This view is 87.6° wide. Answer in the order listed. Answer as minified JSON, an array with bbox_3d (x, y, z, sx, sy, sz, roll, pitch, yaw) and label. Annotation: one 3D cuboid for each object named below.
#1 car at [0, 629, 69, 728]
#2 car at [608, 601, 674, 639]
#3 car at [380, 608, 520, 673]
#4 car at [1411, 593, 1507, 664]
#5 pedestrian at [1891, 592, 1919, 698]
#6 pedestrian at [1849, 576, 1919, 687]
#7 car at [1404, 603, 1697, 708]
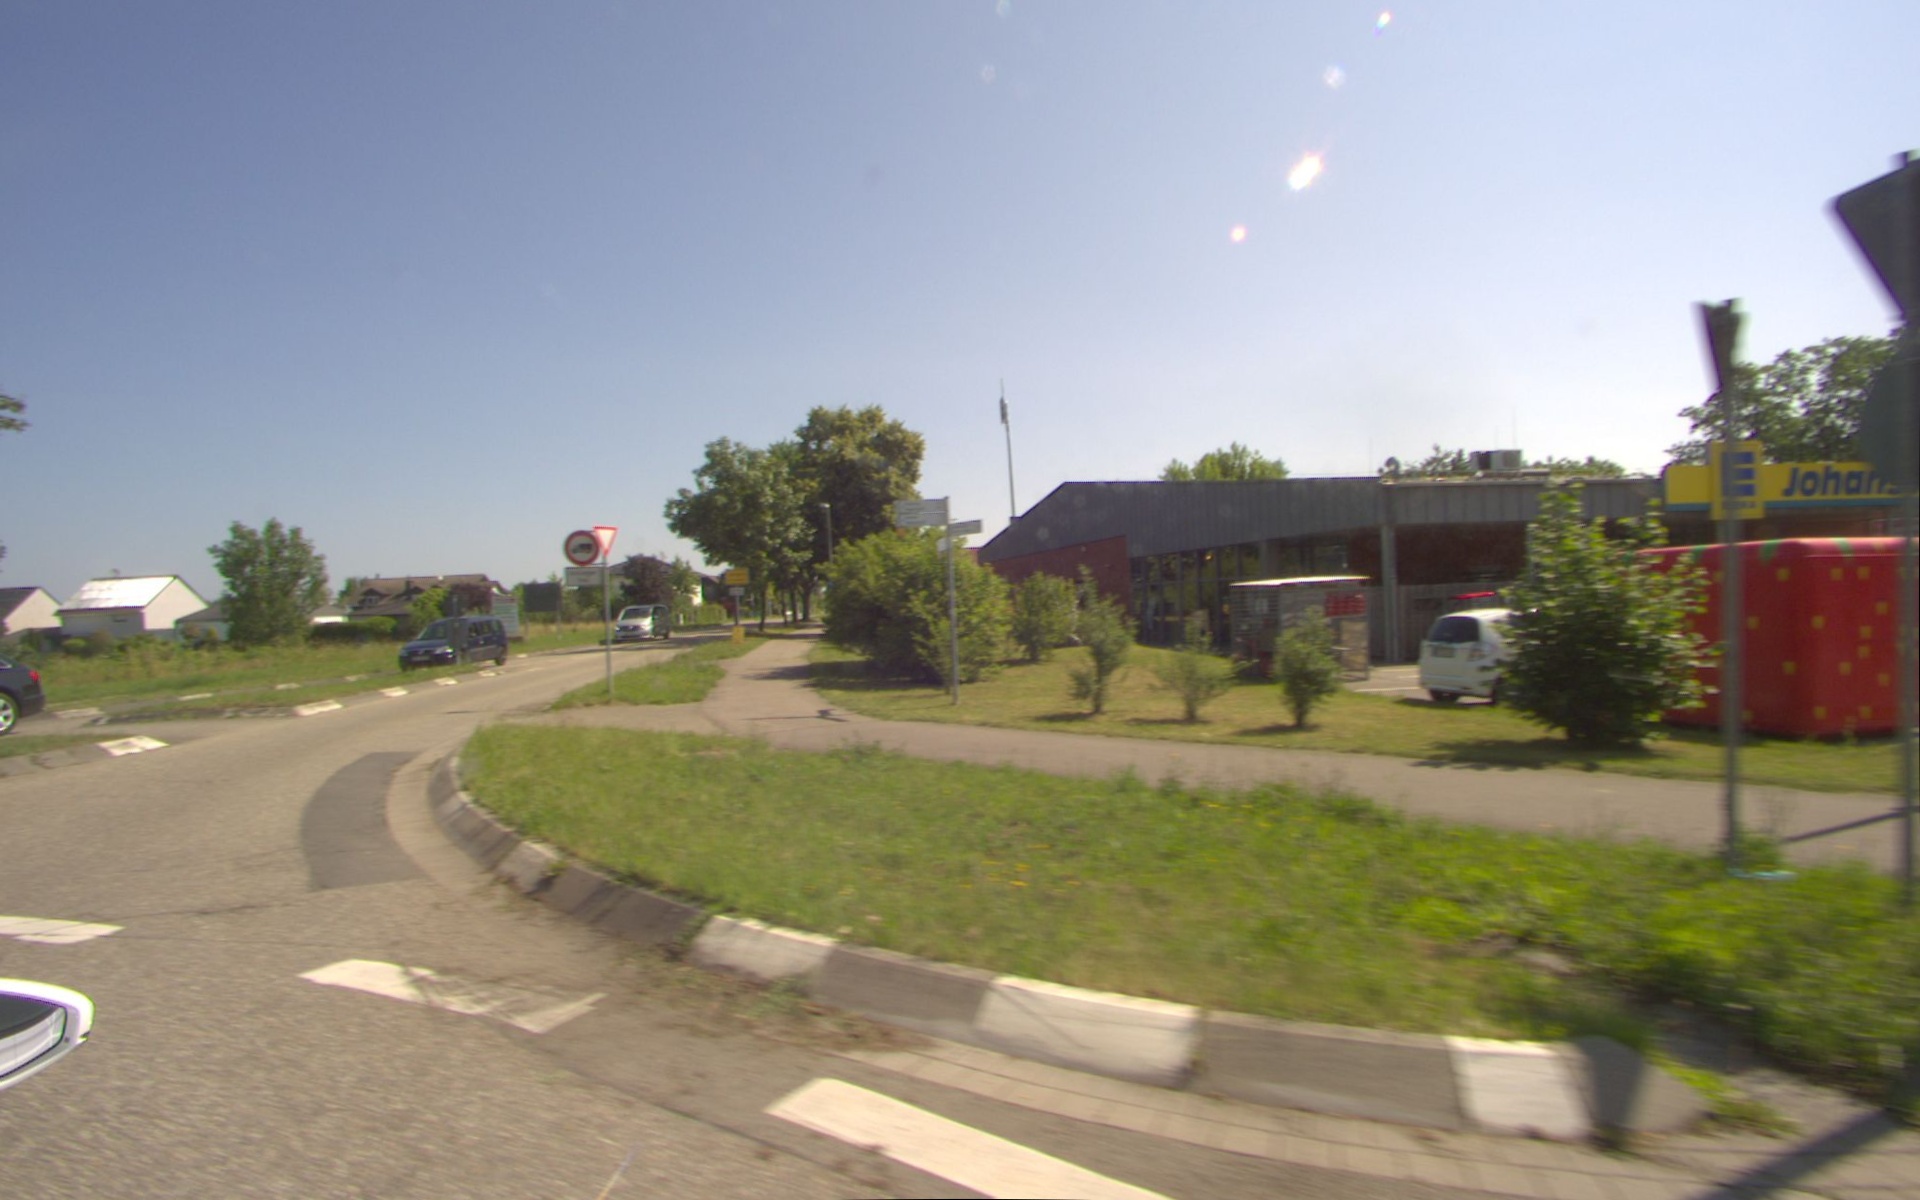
[{"bbox_3d":[-15.188,1.241,13.466,1.886,1.452,4.912,-5,0,1],"label":"car"},{"bbox_3d":[-16.697,1.031,52.718,1.961,1.840,5.200,-2,0,-2],"label":"car"},{"bbox_3d":[-15.523,1.181,30.806,1.781,1.661,4.656,-6,-1,0],"label":"car"},{"bbox_3d":[12.422,0.697,24.977,1.795,1.657,1.130,-2,0,-11],"label":"car"},{"bbox_3d":[15.405,0.692,15.816,0.803,1.640,0.922,-1,0,30],"label":"pedestrian"},{"bbox_3d":[16.443,0.550,17.686,0.826,1.896,0.773,-1,0,18],"label":"pedestrian"},{"bbox_3d":[9.136,0.810,15.627,3.700,1.465,1.725,-1,0,-9],"label":"car"}]
